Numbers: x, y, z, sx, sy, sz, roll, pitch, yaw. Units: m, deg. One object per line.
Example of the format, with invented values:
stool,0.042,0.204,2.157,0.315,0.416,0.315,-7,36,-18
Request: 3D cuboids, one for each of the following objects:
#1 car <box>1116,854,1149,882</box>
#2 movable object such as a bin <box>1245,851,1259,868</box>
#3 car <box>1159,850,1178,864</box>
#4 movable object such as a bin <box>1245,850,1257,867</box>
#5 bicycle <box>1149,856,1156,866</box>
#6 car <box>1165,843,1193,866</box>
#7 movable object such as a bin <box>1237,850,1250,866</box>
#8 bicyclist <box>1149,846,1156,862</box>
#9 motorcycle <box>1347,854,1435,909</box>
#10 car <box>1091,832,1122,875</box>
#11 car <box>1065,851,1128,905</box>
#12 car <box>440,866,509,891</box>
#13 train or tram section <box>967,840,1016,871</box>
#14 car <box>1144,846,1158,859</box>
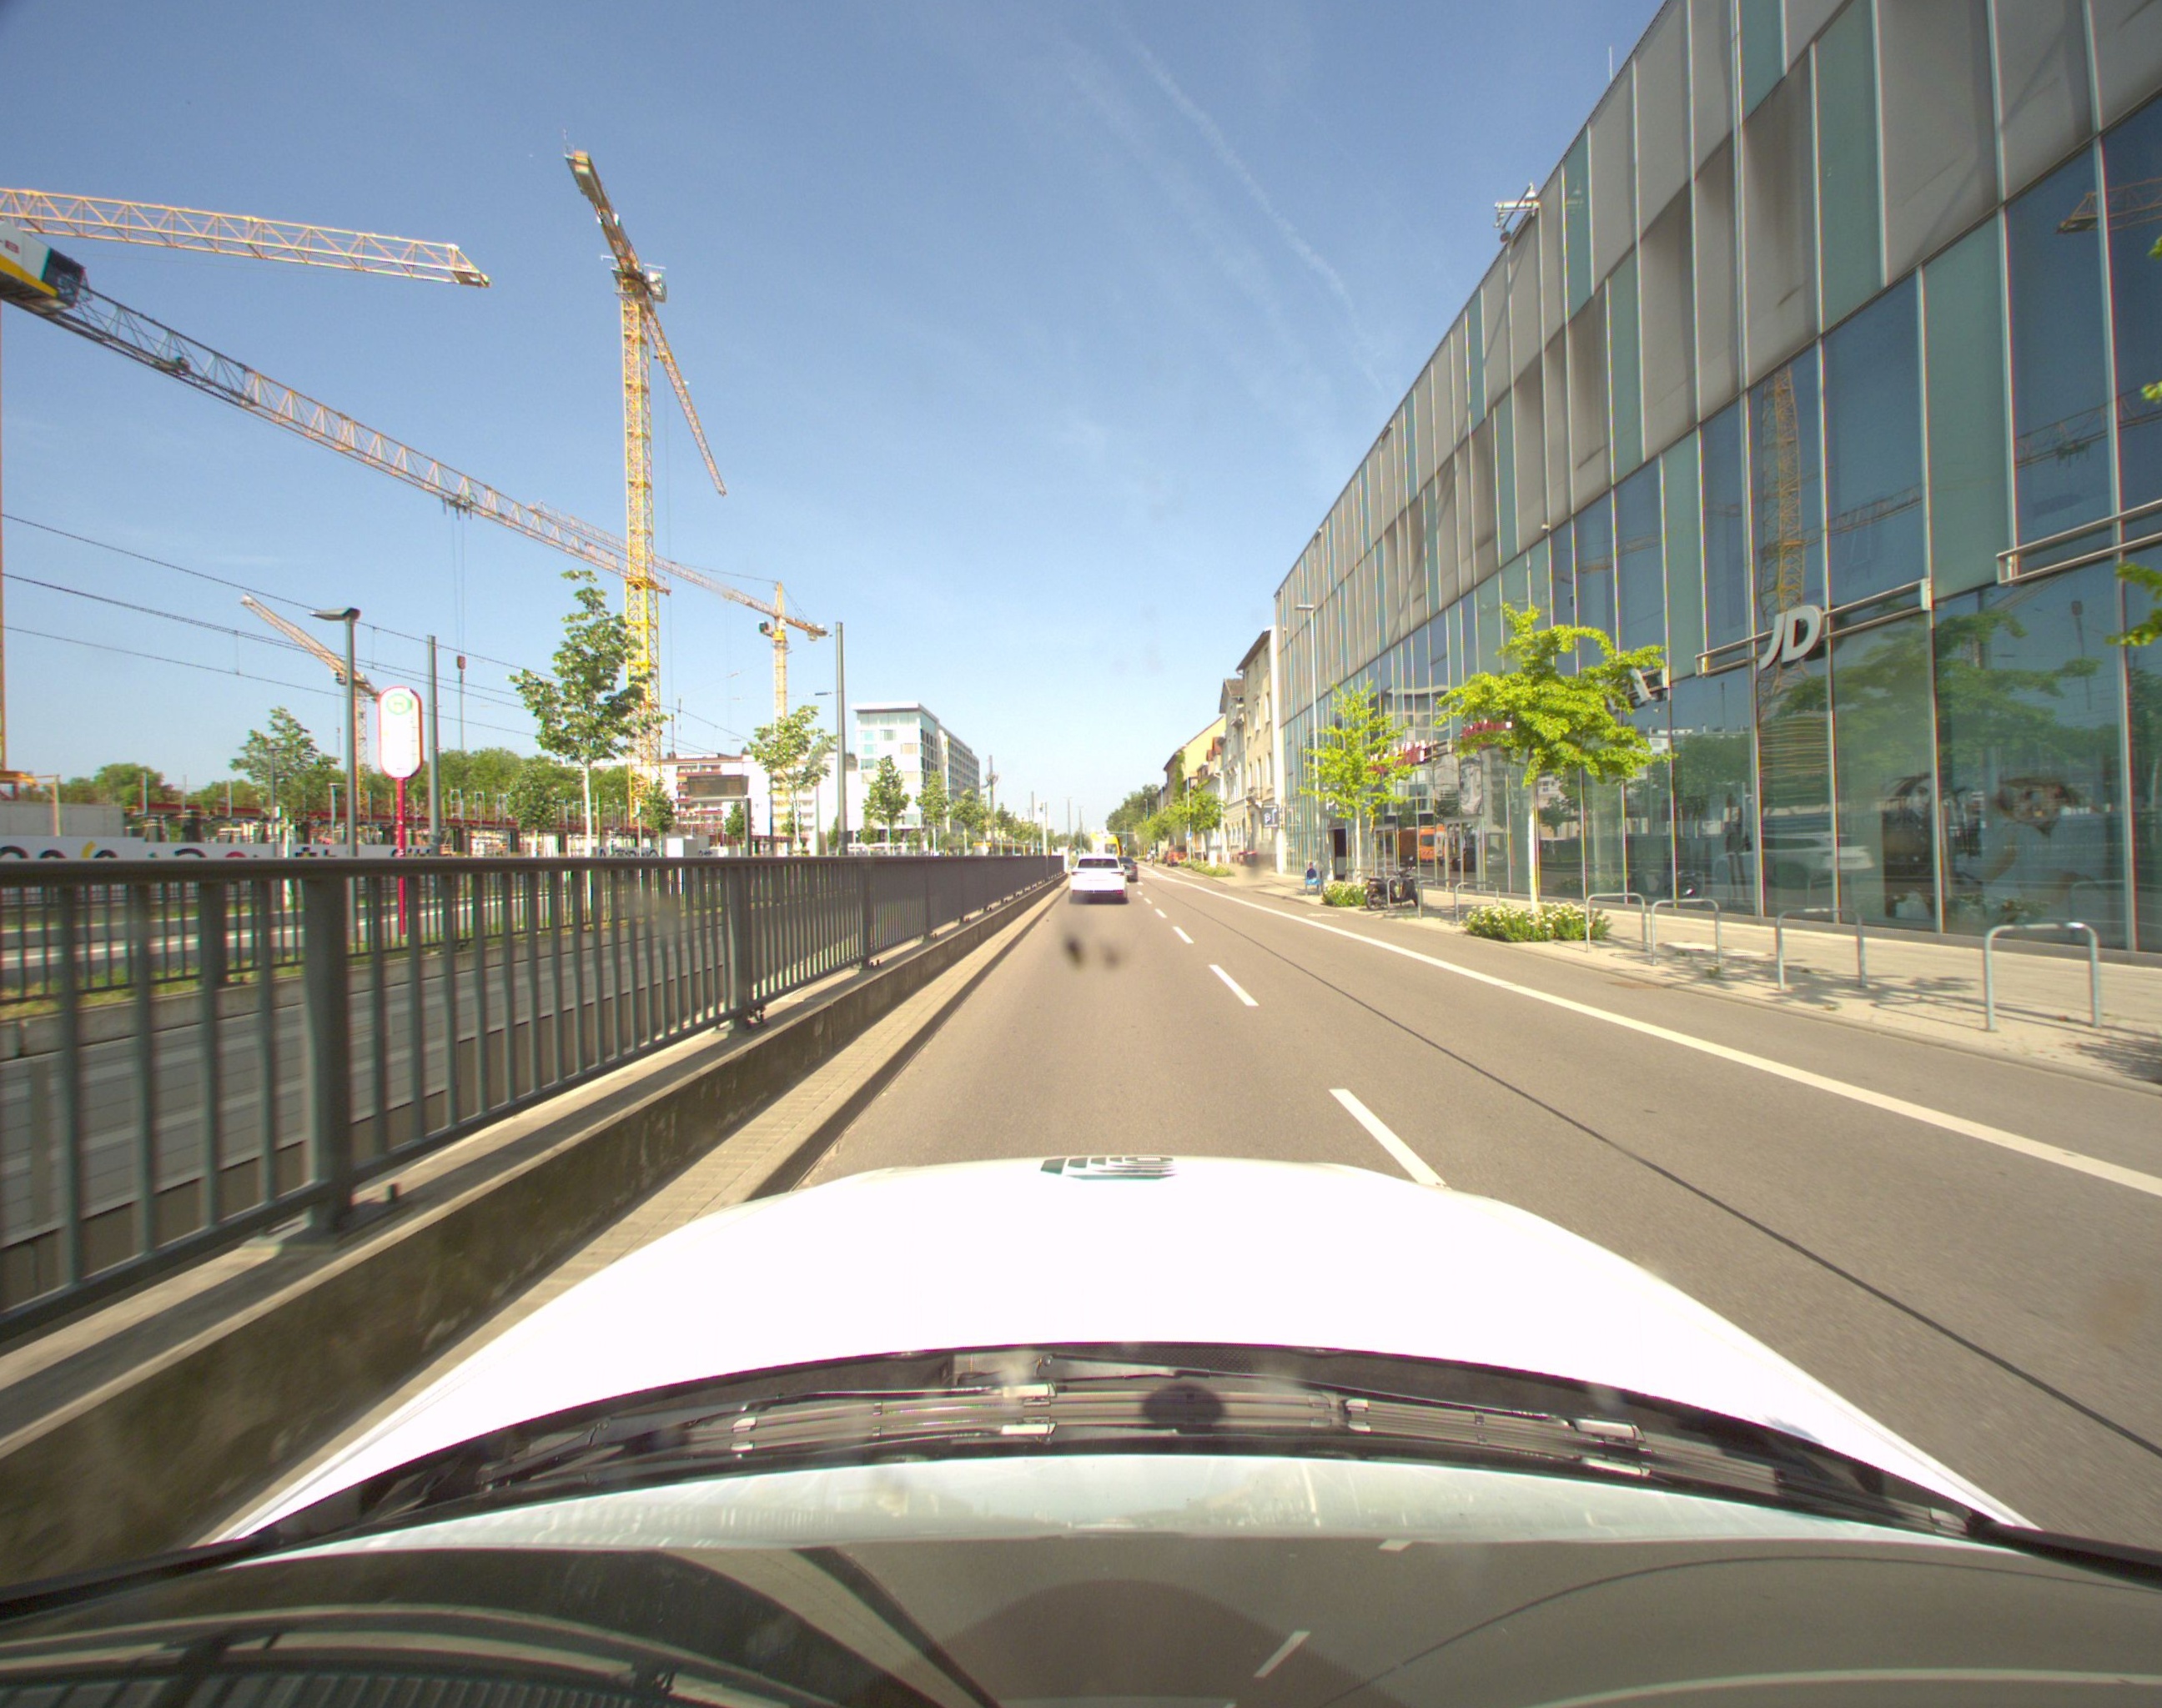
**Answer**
car,2.845,0.751,45.934,1.753,1.436,4.117,0,0,2
movable object such as a bin,12.114,0.364,57.733,0.779,1.172,0.808,-1,2,1
car,9.545,0.323,88.830,1.667,1.483,4.313,-3,0,1
movable object such as a bin,12.243,0.335,58.702,0.702,1.152,0.671,-1,2,1
bicycle,6.928,0.690,78.715,0.652,0.938,1.519,-1,0,4
car,9.080,0.032,75.776,2.055,2.013,4.590,-1,1,1
movable object such as a bin,12.206,0.283,61.155,0.674,1.152,0.610,-3,3,-42
bicyclist,6.913,-0.018,78.559,0.636,1.577,0.772,-1,0,4
motorcycle,8.199,0.717,21.571,1.968,1.349,0.865,-2,0,-9
car,1.807,-0.096,57.262,2.012,2.795,5.404,-1,2,2
car,0.551,0.714,26.654,1.863,1.574,4.002,-1,0,2
car,-32.888,1.309,44.256,1.495,1.202,2.961,-1,0,1
train or tram section,-11.543,0.217,107.719,2.892,3.676,18.160,0,0,5
car,10.253,-0.252,119.190,1.806,1.812,3.837,-1,0,1
